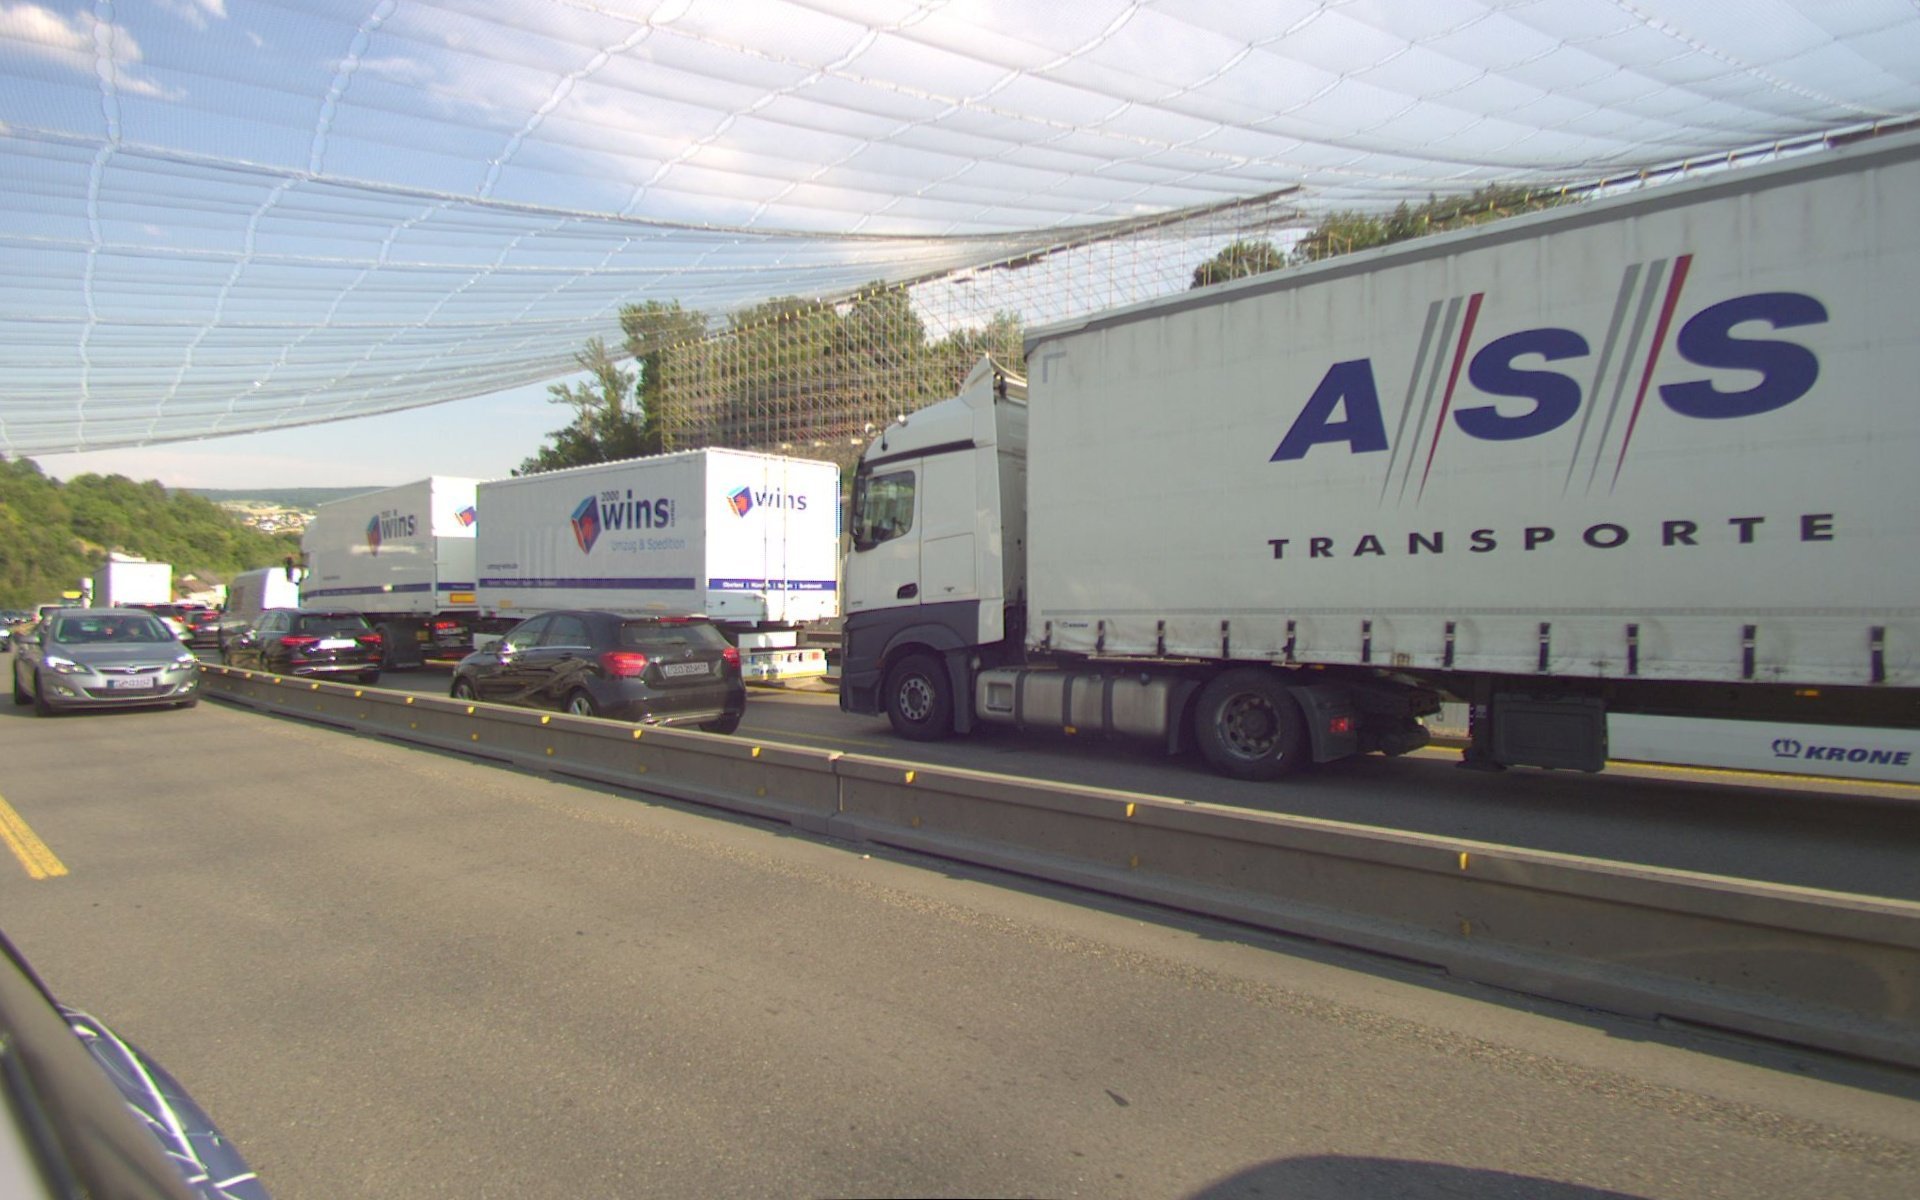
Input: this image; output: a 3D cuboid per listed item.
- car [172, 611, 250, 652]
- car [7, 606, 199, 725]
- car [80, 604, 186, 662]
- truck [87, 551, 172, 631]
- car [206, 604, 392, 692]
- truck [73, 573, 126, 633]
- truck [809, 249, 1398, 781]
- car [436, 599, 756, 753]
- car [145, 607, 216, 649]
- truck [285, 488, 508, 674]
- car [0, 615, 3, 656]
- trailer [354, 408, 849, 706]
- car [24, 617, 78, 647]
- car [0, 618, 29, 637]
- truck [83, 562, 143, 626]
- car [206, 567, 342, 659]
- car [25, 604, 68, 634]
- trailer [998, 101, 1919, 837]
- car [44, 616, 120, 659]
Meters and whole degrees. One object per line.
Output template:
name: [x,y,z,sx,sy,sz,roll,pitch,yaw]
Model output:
car: [-28.770,1.163,38.831,4.383,1.448,1.772,-1,0,45]
car: [-12.690,0.844,14.884,4.354,1.484,1.736,-1,0,44]
car: [-24.644,0.928,30.099,4.364,1.580,1.789,-1,0,42]
truck: [-49.314,-0.418,59.880,2.690,4.259,14.178,0,0,-44]
car: [-12.636,0.827,19.221,4.661,1.461,1.759,-1,0,41]
truck: [-73.307,0.286,86.081,2.951,4.593,17.428,0,0,-42]
truck: [1.235,-0.637,10.524,5.613,4.076,2.448,-1,0,40]
car: [-4.096,0.707,11.106,3.898,1.386,1.591,-1,0,40]
car: [-34.354,1.189,44.543,4.939,1.740,1.803,-1,0,45]
truck: [-13.953,-0.380,24.754,7.203,3.939,2.603,-1,0,42]
car: [-35.335,1.261,35.955,3.823,1.394,1.741,-1,0,43]
trailer: [-7.608,-0.538,19.125,13.327,4.046,2.642,-1,0,41]
car: [-47.068,1.635,52.369,4.520,1.430,1.788,-1,0,44]
car: [-82.614,2.400,88.330,1.912,1.546,4.648,-1,0,-44]
truck: [-54.704,-0.337,65.325,2.487,3.937,6.053,0,0,-44]
car: [-22.665,0.416,33.265,7.083,2.733,2.217,-1,0,43]
car: [-59.788,1.199,66.227,5.284,1.883,1.788,-1,0,45]
trailer: [6.523,-0.724,5.958,14.087,3.993,2.403,-1,0,40]
car: [-35.344,1.476,40.696,4.364,1.580,1.789,-1,0,42]
